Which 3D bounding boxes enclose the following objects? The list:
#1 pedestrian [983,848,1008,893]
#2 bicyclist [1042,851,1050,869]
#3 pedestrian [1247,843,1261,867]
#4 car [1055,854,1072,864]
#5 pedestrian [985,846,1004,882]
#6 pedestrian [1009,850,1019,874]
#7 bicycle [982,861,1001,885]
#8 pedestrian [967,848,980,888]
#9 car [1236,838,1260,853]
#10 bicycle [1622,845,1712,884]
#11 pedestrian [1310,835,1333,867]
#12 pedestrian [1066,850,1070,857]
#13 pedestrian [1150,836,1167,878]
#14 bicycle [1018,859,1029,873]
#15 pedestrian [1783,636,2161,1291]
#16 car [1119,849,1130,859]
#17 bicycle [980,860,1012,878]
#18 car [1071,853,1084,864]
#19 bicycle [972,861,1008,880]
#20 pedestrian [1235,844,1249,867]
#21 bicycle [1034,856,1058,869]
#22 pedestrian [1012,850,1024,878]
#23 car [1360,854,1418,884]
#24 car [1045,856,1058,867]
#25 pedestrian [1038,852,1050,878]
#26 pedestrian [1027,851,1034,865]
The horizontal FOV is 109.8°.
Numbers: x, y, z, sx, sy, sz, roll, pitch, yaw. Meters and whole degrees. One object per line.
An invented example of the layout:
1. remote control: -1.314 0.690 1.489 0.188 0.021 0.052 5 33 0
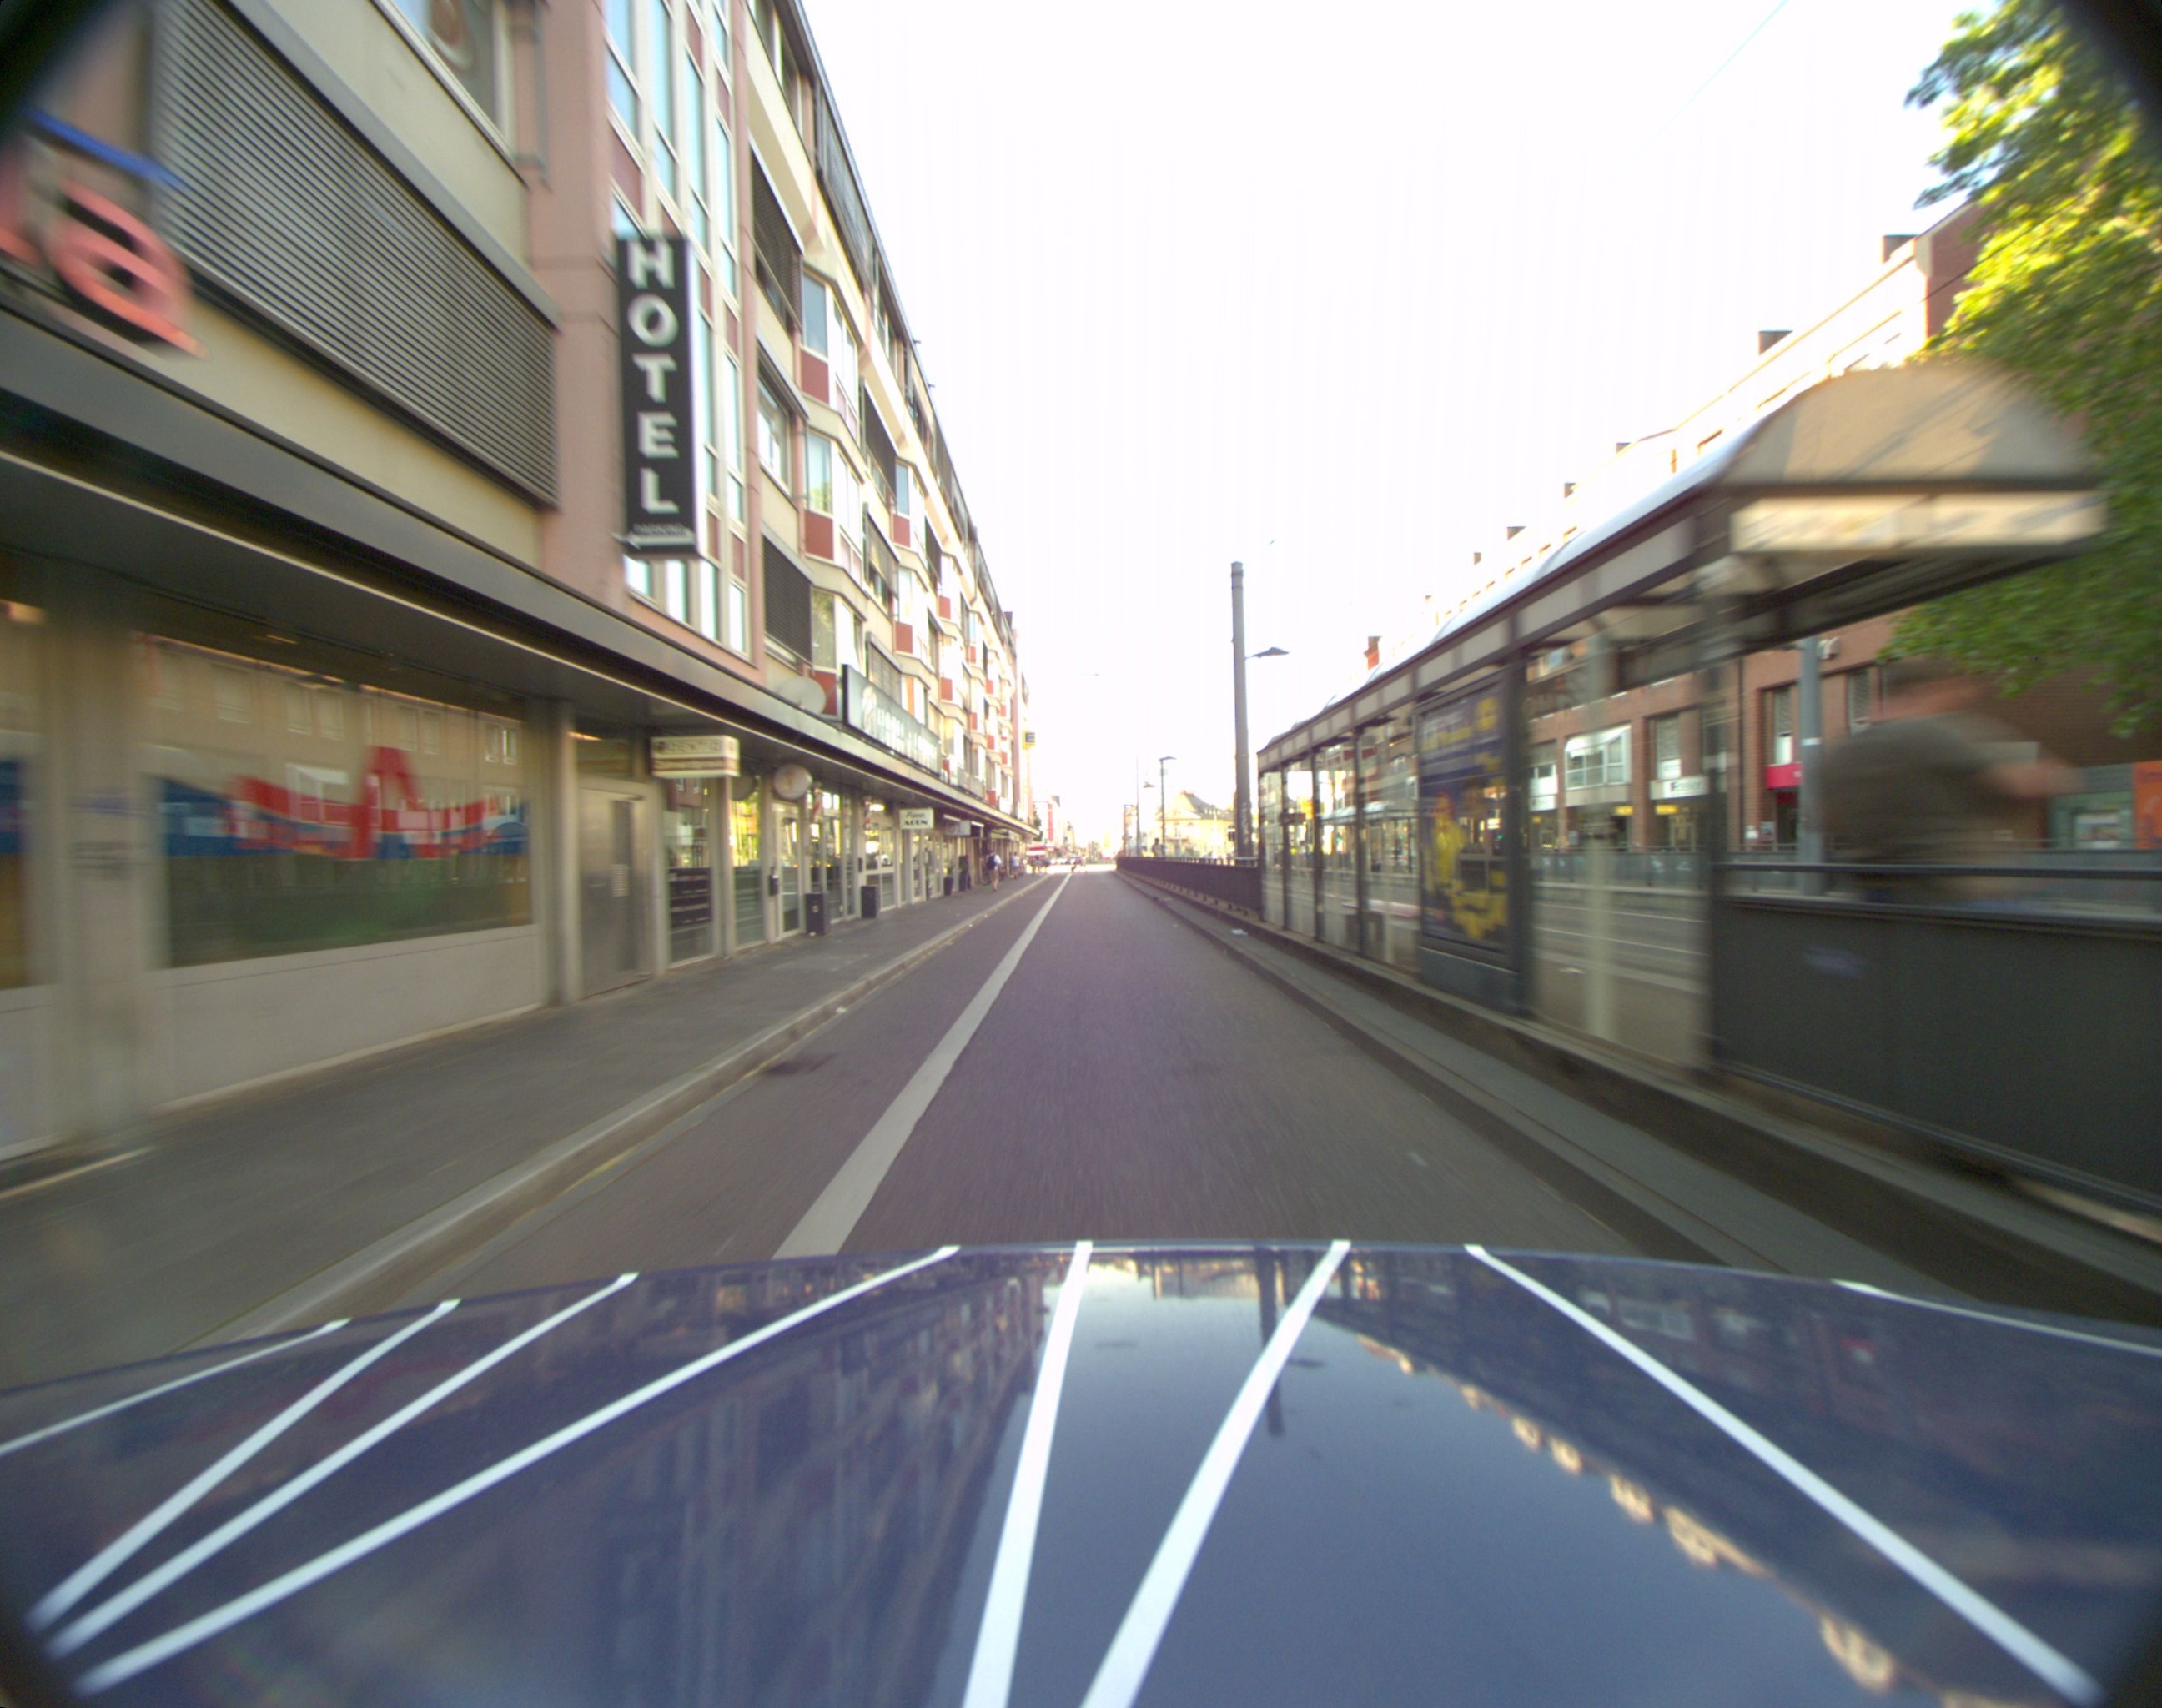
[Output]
1. pedestrian: -3.420 0.652 30.398 0.800 1.713 1.061 1 2 1
2. bicyclist: -3.214 0.555 70.236 0.637 1.668 0.768 -2 1 -3
3. pedestrian: 13.432 0.055 59.005 0.860 1.757 0.811 -4 1 6
4. car: -3.235 0.953 140.019 1.974 1.664 4.869 -3 0 -16
5. pedestrian: -4.522 0.497 39.755 0.917 1.856 0.779 0 1 -3
6. pedestrian: -4.461 0.504 50.499 0.407 1.586 0.462 2 1 28
7. bicycle: -4.386 0.907 37.210 0.659 1.061 1.794 3 1 0
8. pedestrian: -4.521 0.576 31.927 0.543 1.664 0.468 -1 1 -8
9. car: 35.018 -1.839 159.189 2.536 3.031 6.386 2 3 37
10. bicycle: 22.296 0.406 28.958 2.614 1.275 0.841 -4 1 8
11. pedestrian: 12.896 -0.153 40.733 0.913 1.652 0.967 -2 1 -1
12. pedestrian: -2.699 -0.167 160.456 0.597 1.434 0.613 -2 1 -11
13. pedestrian: 3.352 0.120 32.903 0.584 1.781 0.606 -2 1 -1
14. bicycle: -4.174 0.855 55.145 0.678 0.971 1.842 3 1 -3
15. pedestrian: 2.933 0.281 2.401 0.624 1.702 0.850 -2 1 0
16. car: 11.002 -0.074 191.369 2.540 2.441 5.424 -3 0 5
17. bicycle: -4.969 0.878 44.415 1.734 0.968 0.506 1 1 5
18. car: -0.563 0.753 126.694 1.971 1.664 4.875 -3 0 0
19. bicycle: -5.146 0.949 43.057 1.929 1.054 0.576 0 1 0
20. pedestrian: 12.526 0.120 59.011 0.860 1.757 0.811 -4 1 6
21. bicycle: -3.206 0.823 70.242 2.176 1.117 0.768 -2 1 -4
22. pedestrian: -3.861 0.603 46.675 0.634 1.664 0.771 0 1 0
23. car: 18.955 0.885 46.928 1.914 1.585 4.289 0 2 1
24. car: -4.791 1.274 123.518 1.972 1.664 4.874 -3 0 -2
25. pedestrian: -2.705 0.792 55.499 0.806 1.805 0.732 -2 1 -3
26. pedestrian: -7.248 0.547 108.468 0.747 2.002 1.070 -4 1 -13
